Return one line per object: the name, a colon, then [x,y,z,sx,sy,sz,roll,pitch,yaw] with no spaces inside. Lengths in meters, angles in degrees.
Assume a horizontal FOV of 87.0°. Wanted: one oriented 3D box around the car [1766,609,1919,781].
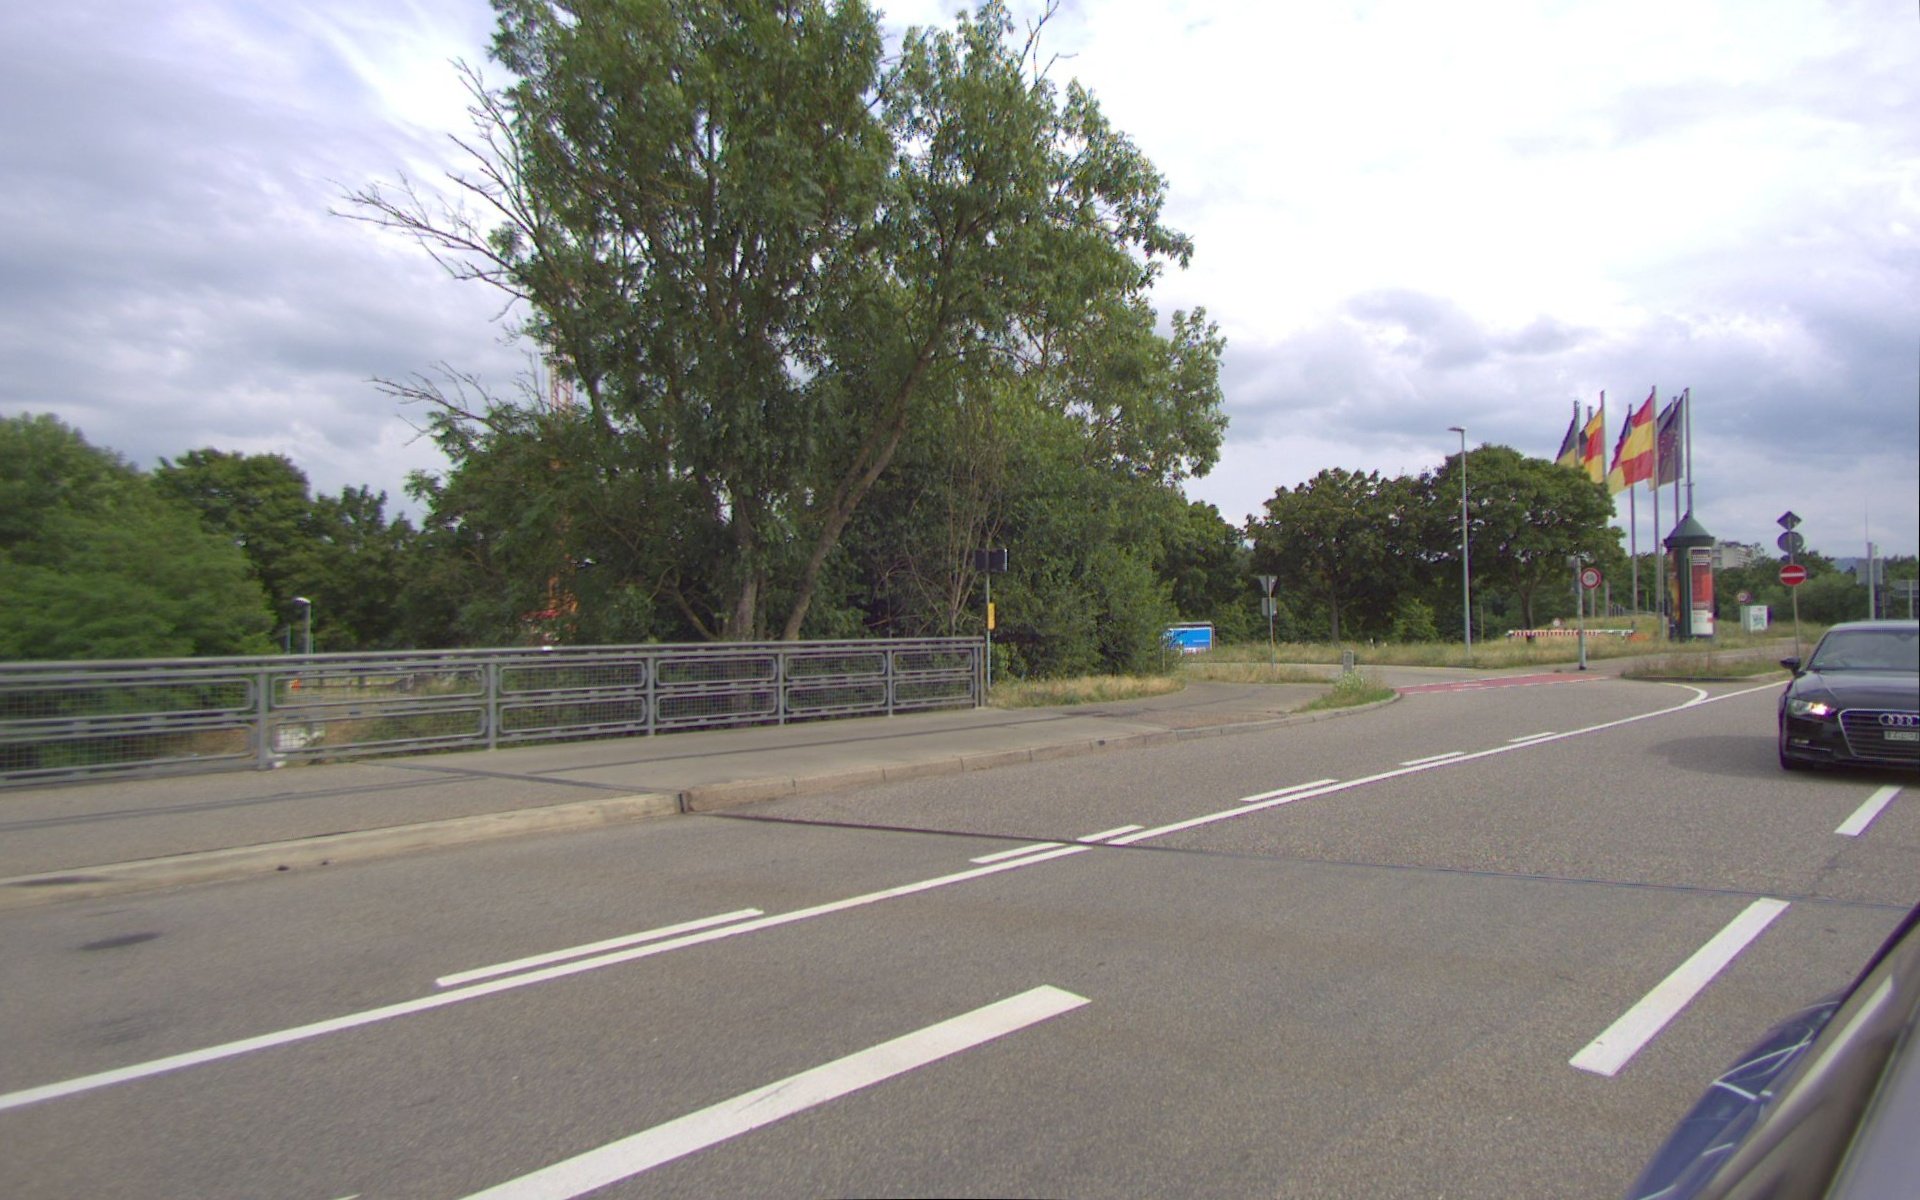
car: [9.567,0.799,9.940,4.648,1.381,1.850,0,-1,-42]
